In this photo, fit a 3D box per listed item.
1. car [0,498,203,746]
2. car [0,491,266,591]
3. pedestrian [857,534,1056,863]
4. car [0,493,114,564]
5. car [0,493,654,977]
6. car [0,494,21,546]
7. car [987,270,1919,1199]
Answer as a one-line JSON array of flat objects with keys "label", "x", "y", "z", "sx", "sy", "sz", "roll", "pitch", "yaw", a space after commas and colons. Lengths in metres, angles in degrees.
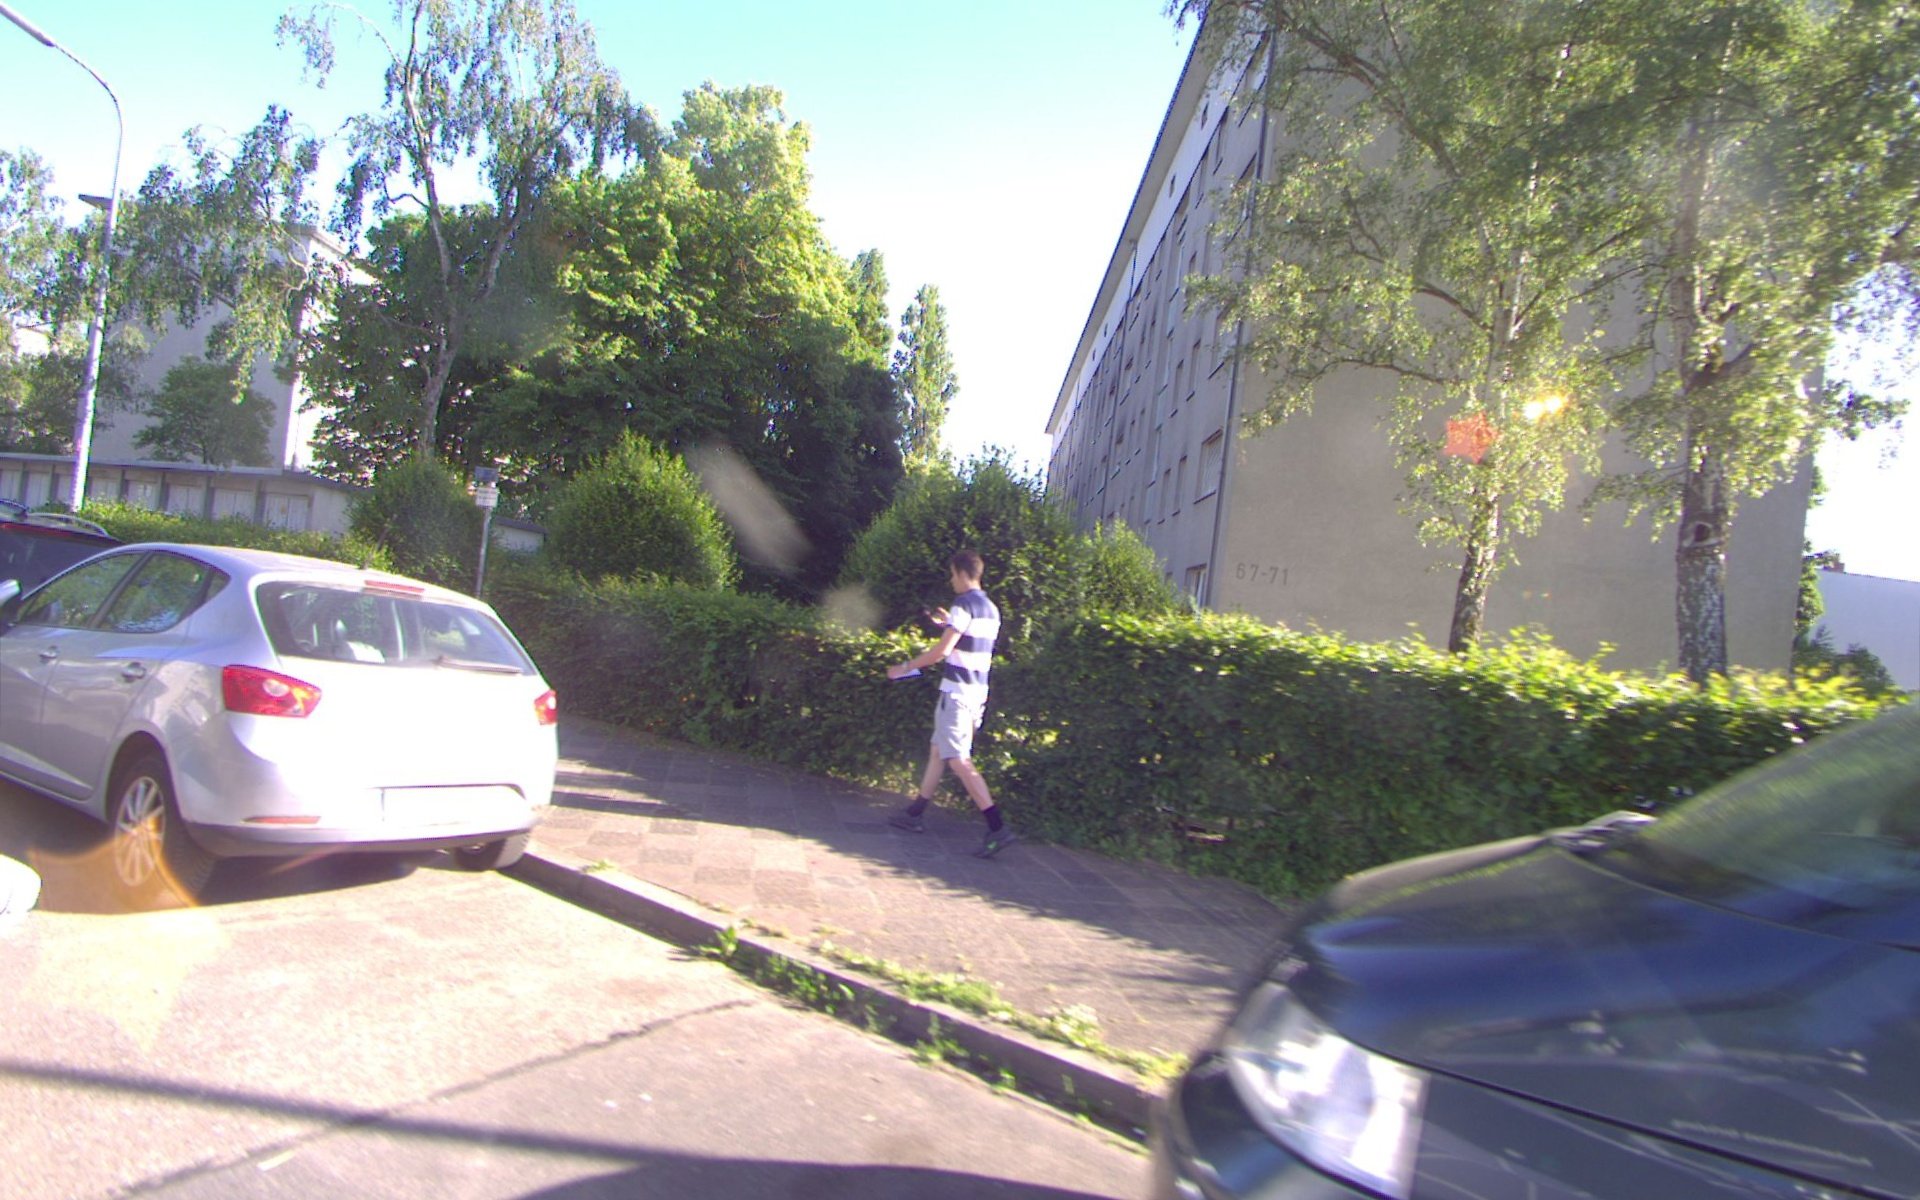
[{"label": "car", "x": -7.735, "y": -0.061, "z": 7.433, "sx": 4.424, "sy": 1.508, "sz": 1.734, "roll": 7, "pitch": 0, "yaw": 30}, {"label": "car", "x": -17.393, "y": -1.186, "z": 21.314, "sx": 1.797, "sy": 1.532, "sz": 3.950, "roll": 7, "pitch": 0, "yaw": 29}, {"label": "pedestrian", "x": -0.022, "y": 0.589, "z": 6.479, "sx": 0.858, "sy": 1.913, "sz": 0.703, "roll": 7, "pitch": 2, "yaw": 33}, {"label": "car", "x": -24.702, "y": -1.990, "z": 25.547, "sx": 1.799, "sy": 1.532, "sz": 4.517, "roll": 7, "pitch": 0, "yaw": 33}, {"label": "car", "x": -3.639, "y": 0.401, "z": 5.089, "sx": 3.969, "sy": 1.506, "sz": 1.627, "roll": 7, "pitch": -2, "yaw": 31}, {"label": "car", "x": -31.351, "y": -2.705, "z": 30.079, "sx": 1.799, "sy": 1.532, "sz": 4.420, "roll": 7, "pitch": 0, "yaw": 32}, {"label": "car", "x": 2.518, "y": 0.859, "z": 1.130, "sx": 4.626, "sy": 1.956, "sz": 1.857, "roll": 7, "pitch": -2, "yaw": 31}]
